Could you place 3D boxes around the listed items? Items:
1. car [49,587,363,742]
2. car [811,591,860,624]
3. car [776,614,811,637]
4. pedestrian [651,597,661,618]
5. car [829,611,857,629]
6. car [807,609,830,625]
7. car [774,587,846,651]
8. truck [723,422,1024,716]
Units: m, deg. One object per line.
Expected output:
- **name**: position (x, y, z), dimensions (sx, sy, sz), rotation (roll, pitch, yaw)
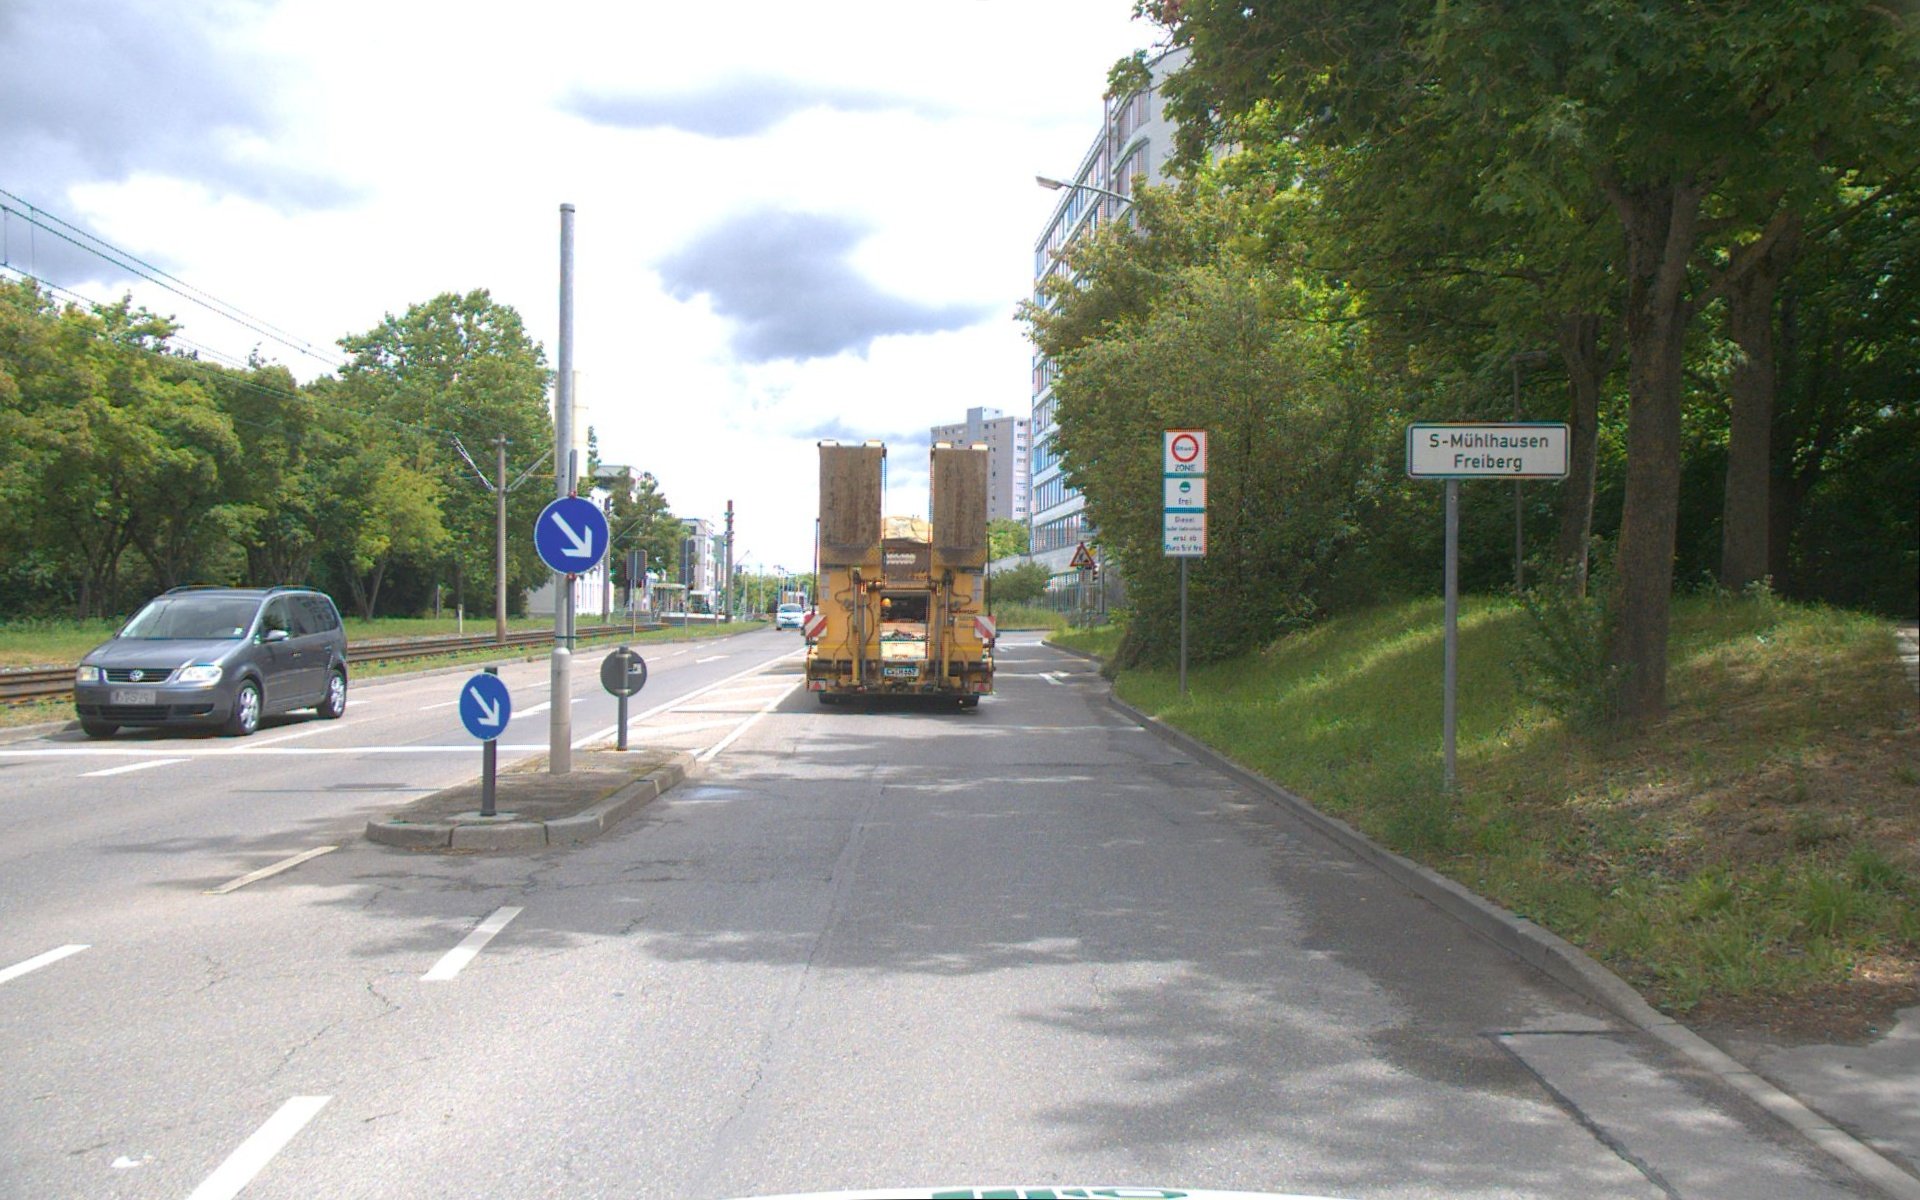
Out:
- **car**: position (-8.630, 0.686, 19.399), dimensions (1.747, 1.597, 4.344), rotation (0, 0, -1)
- **car**: position (-5.863, 0.363, 78.289), dimensions (1.953, 1.445, 4.000), rotation (2, 0, 0)
- **car**: position (-9.910, 1.518, 98.639), dimensions (1.747, 1.294, 4.344), rotation (0, 0, -1)
- **pedestrian**: position (-29.013, 0.723, 157.806), dimensions (0.639, 2.049, 0.654), rotation (2, 0, 5)
- **car**: position (-8.300, 1.404, 117.160), dimensions (1.747, 1.294, 4.344), rotation (0, 0, -1)
- **car**: position (-11.735, 1.433, 137.213), dimensions (1.748, 1.294, 4.342), rotation (0, 0, -3)
- **car**: position (-4.967, 0.607, 55.188), dimensions (1.953, 1.959, 4.000), rotation (2, 0, 0)
- **truck**: position (-0.898, -0.381, 27.789), dimensions (3.246, 3.715, 12.568), rotation (2, 0, 5)
